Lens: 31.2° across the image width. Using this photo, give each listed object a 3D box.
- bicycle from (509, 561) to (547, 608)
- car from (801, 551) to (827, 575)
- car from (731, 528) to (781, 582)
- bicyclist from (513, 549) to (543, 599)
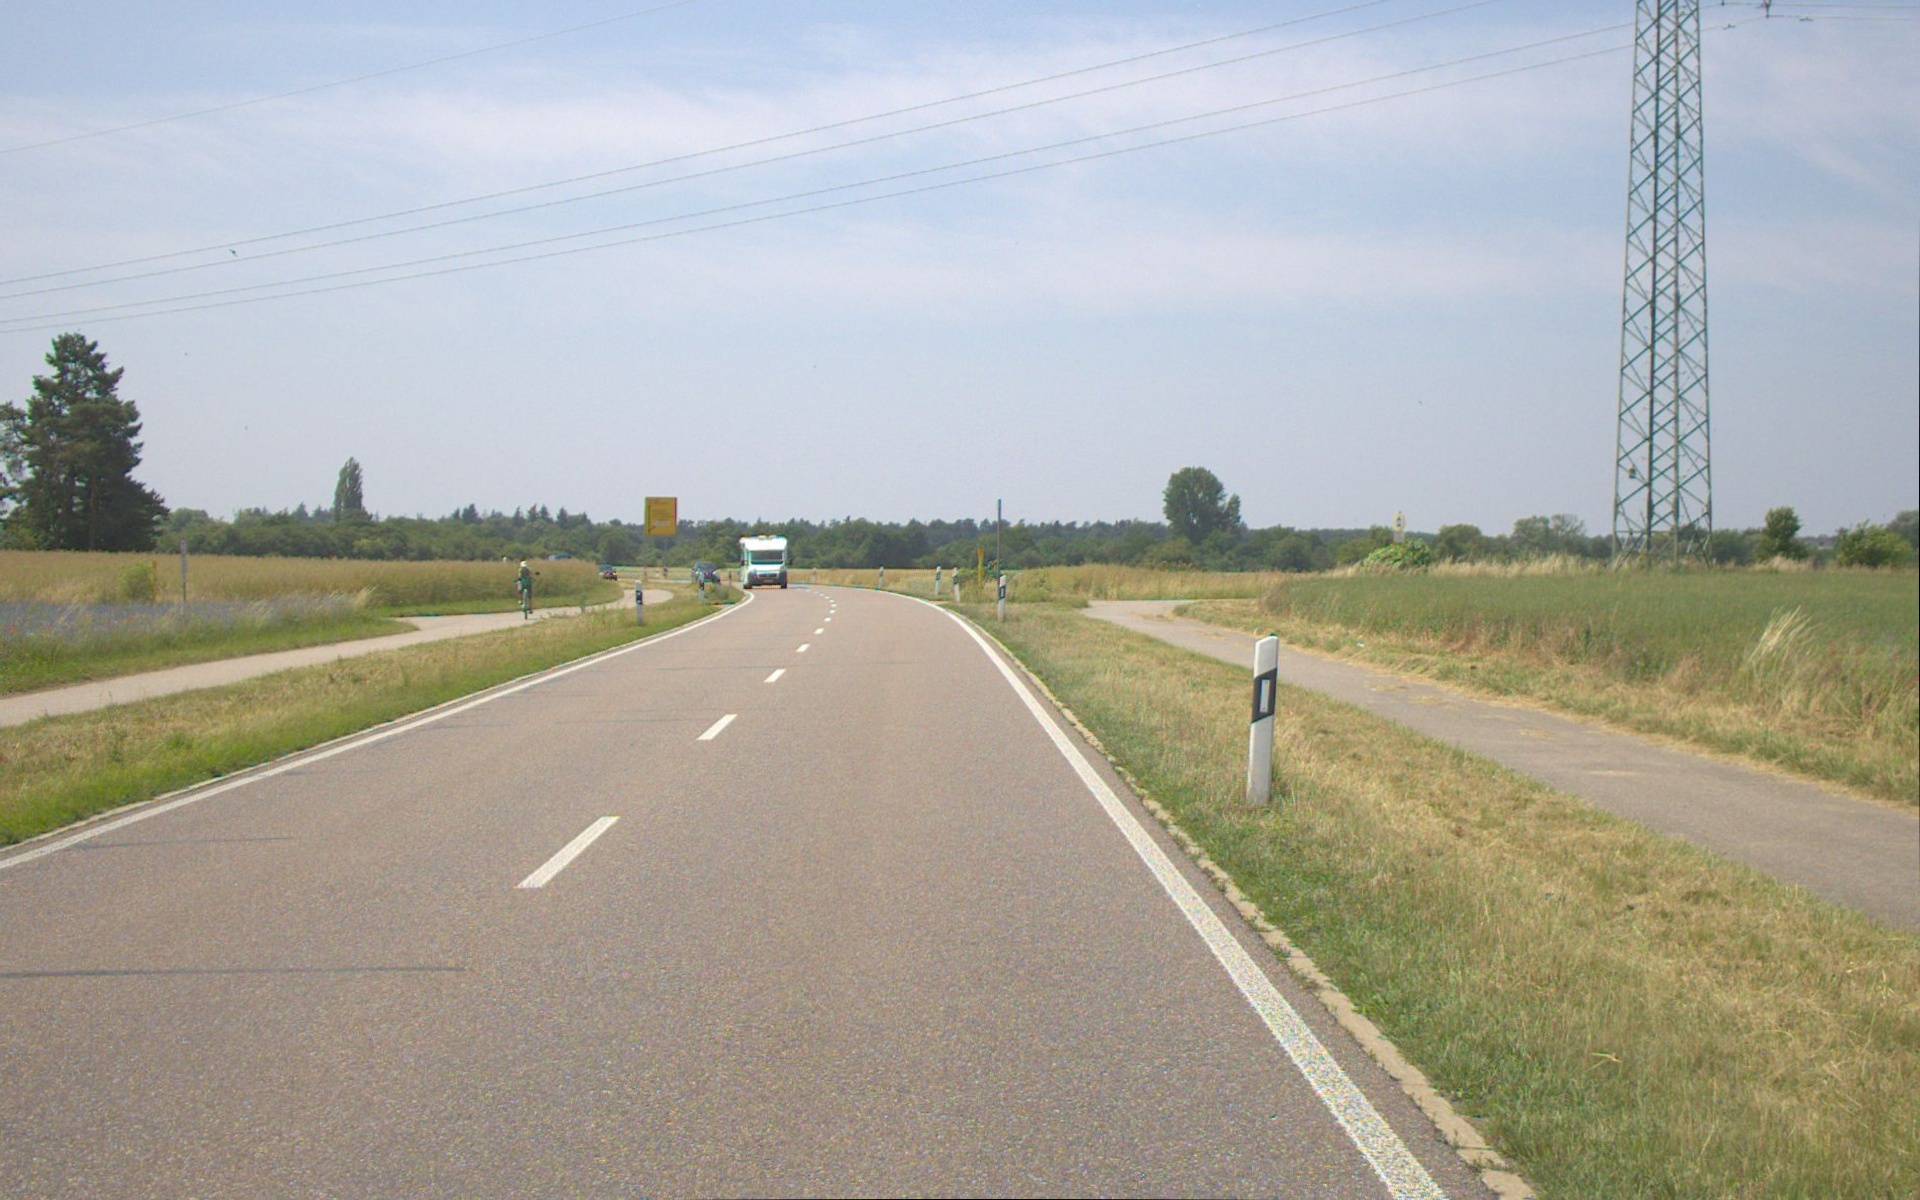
[{"bbox_3d":[-11.560,-0.420,92.096,0.762,1.225,2.216,0,1,-1],"label":"bicycle"},{"bbox_3d":[-9.244,-2.331,217.264,1.623,1.486,4.001,0,1,-3],"label":"car"},{"bbox_3d":[-10.812,-2.386,182.689,2.397,2.837,7.628,0,1,-1],"label":"car"},{"bbox_3d":[-11.571,-0.696,92.054,0.701,1.326,0.965,0,1,-1],"label":"bicyclist"}]
